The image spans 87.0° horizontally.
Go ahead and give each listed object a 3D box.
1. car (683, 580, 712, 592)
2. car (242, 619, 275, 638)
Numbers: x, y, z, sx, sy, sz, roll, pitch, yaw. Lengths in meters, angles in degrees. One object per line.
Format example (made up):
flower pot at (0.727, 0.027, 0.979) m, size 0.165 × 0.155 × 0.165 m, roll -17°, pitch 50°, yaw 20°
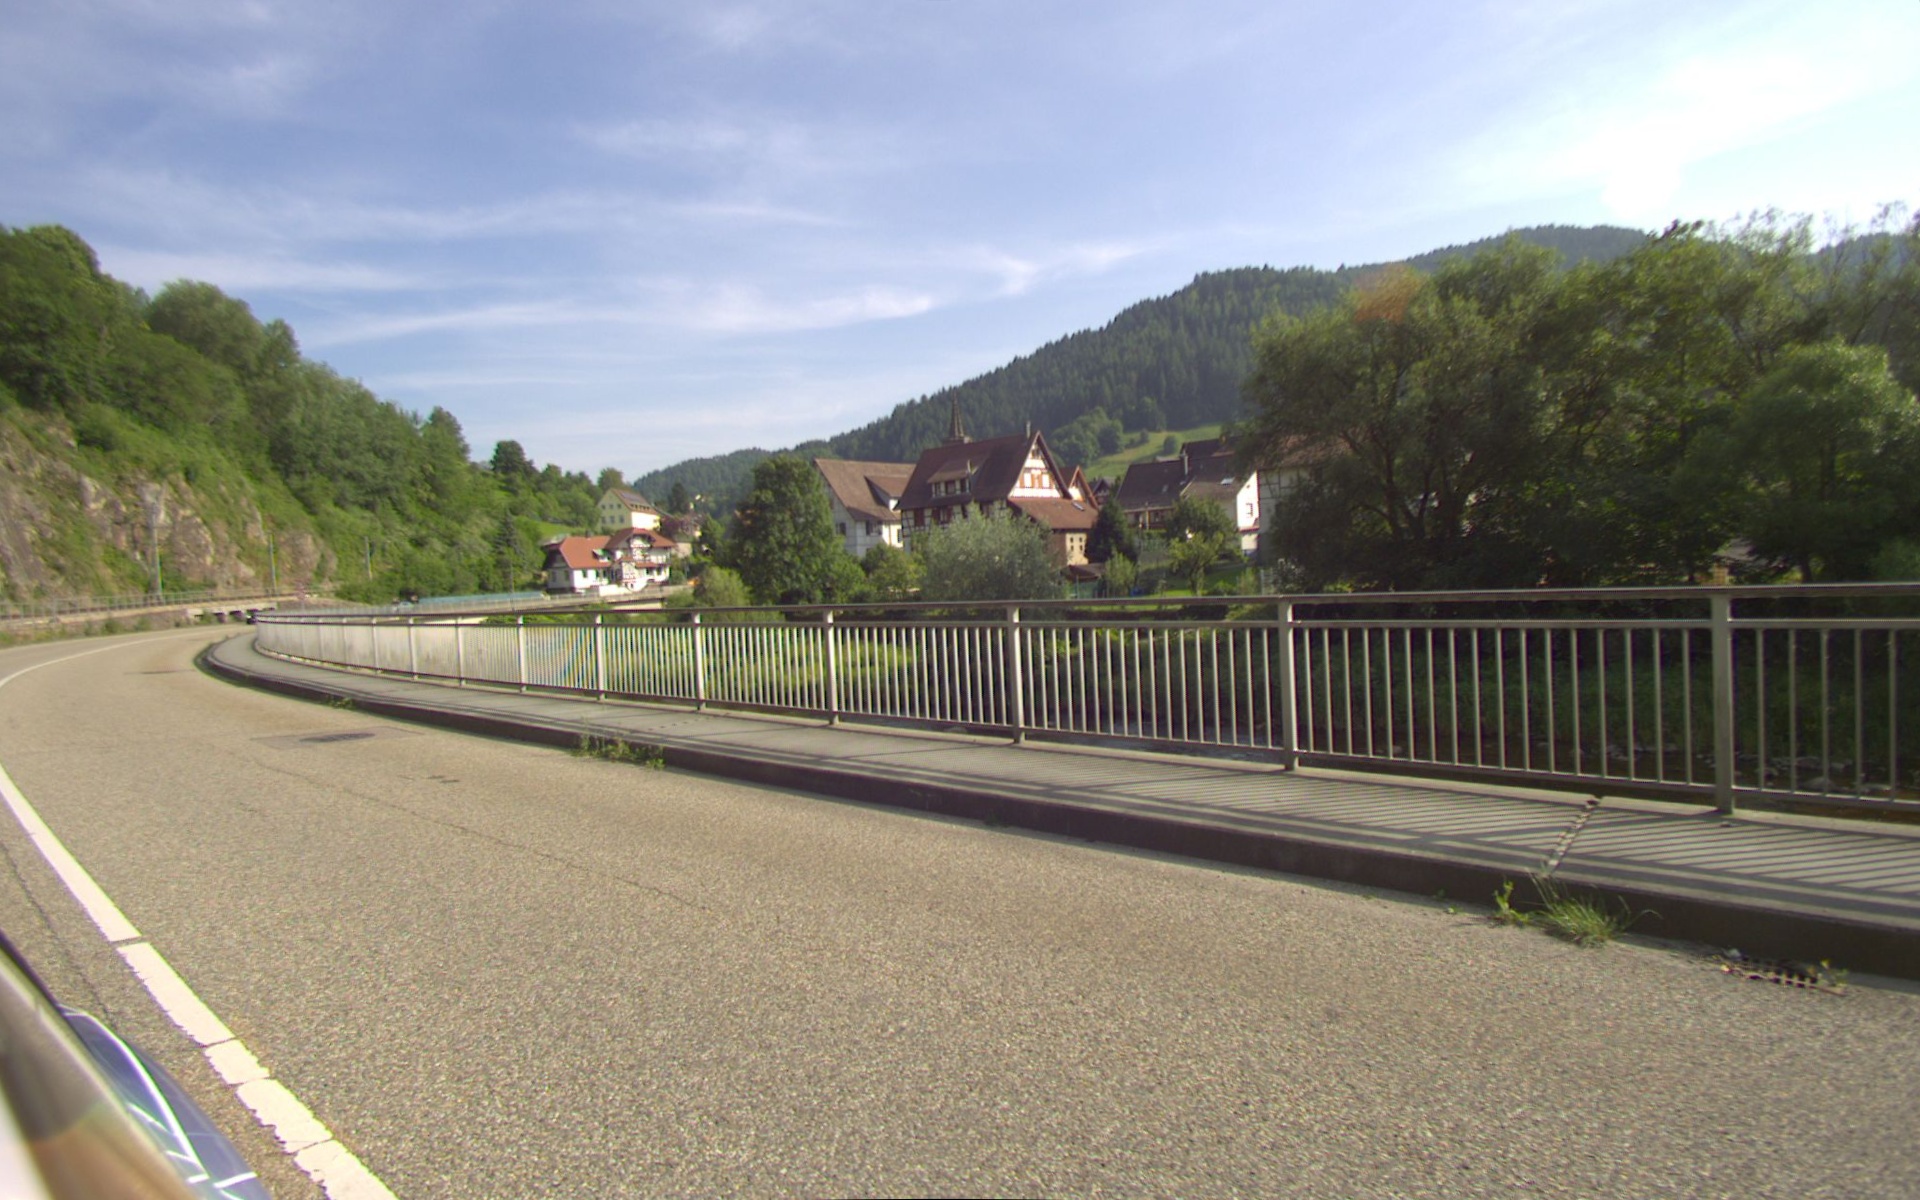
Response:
car at (-45.908, -2.419, 177.021) m, size 1.914 × 2.013 × 4.769 m, roll 0°, pitch -1°, yaw 41°
car at (-62.046, 2.519, 89.596) m, size 1.675 × 1.533 × 3.483 m, roll 2°, pitch -4°, yaw -23°
